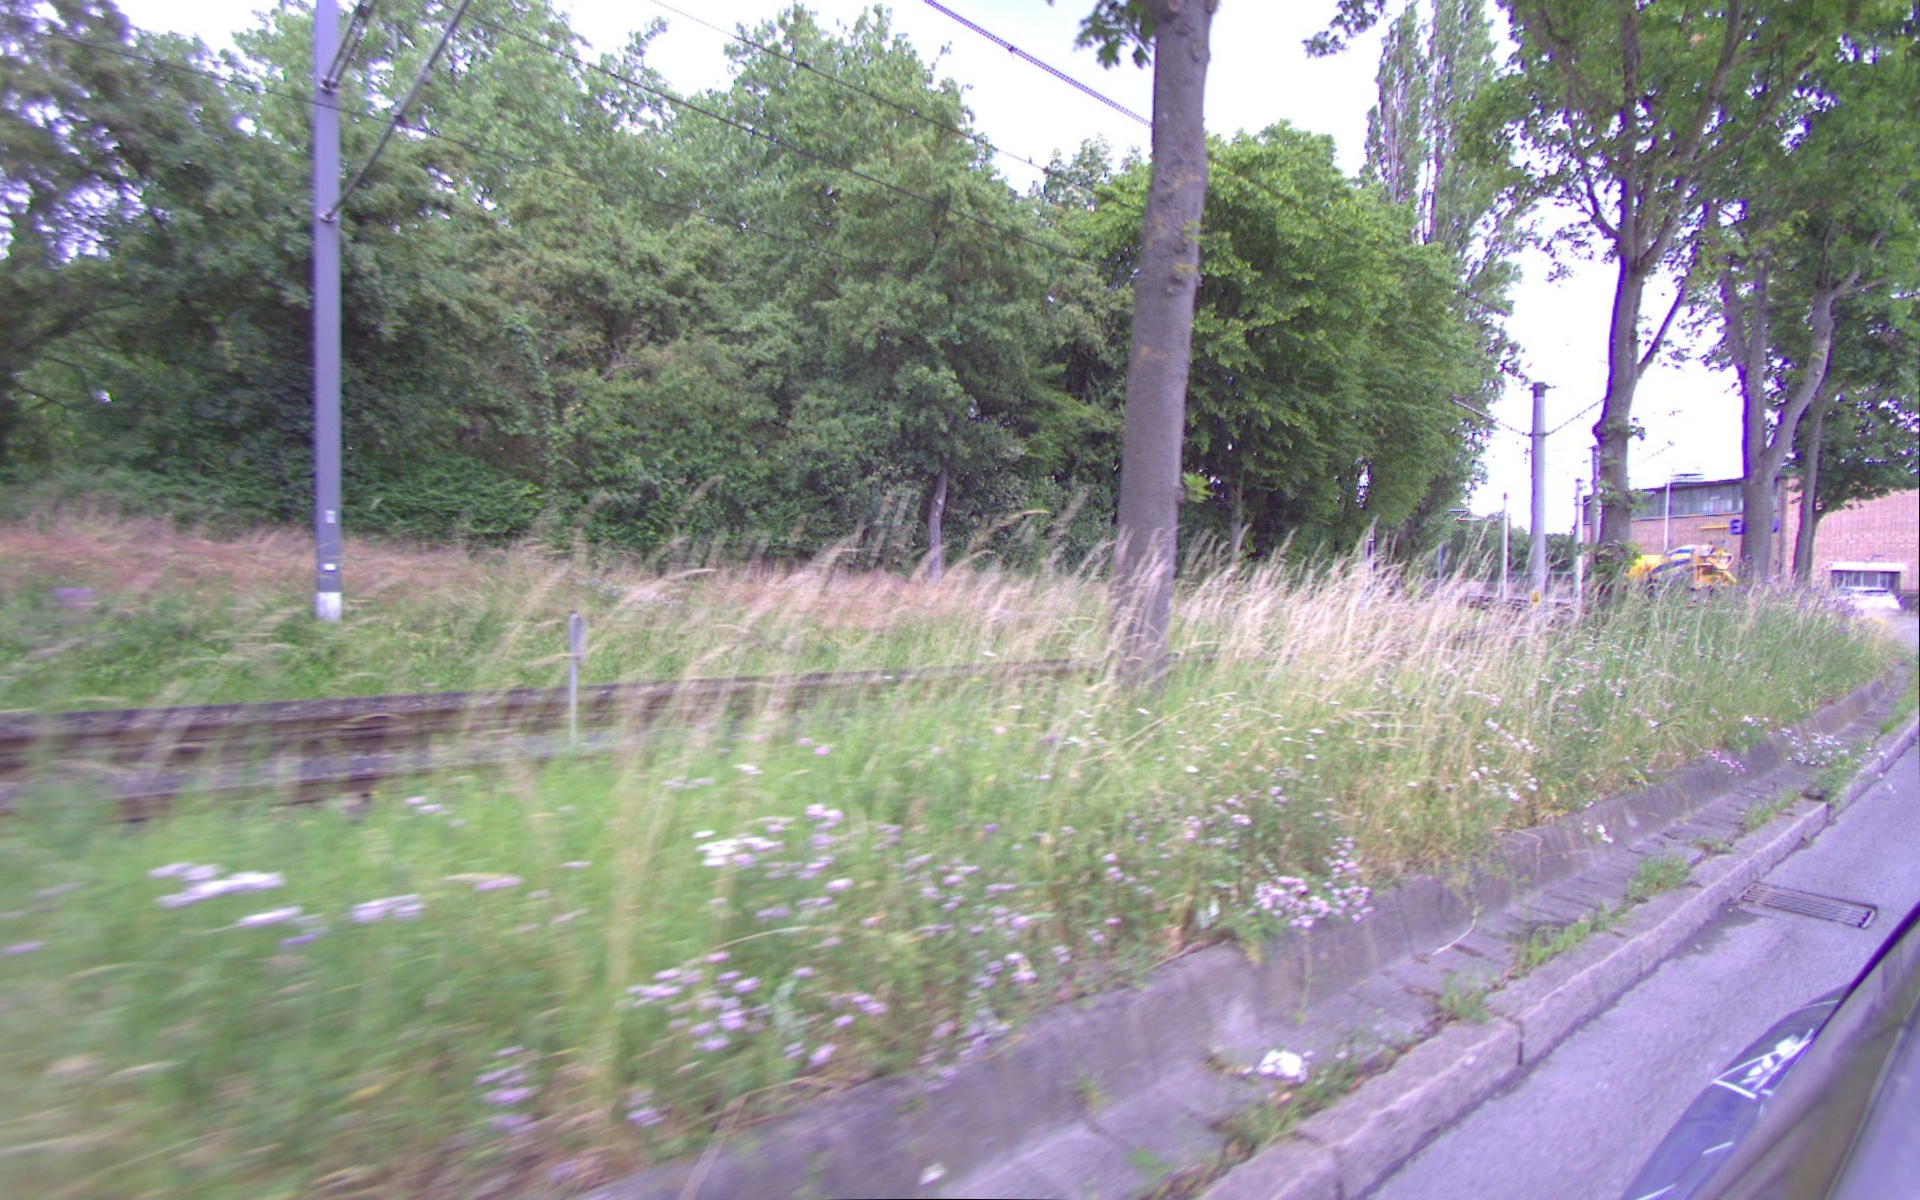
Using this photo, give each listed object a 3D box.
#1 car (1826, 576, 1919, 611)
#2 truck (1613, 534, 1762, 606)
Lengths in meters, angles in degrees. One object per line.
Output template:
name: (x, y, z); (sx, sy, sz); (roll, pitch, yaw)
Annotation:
car: (41.133, -0.294, 45.704); (1.729, 1.506, 3.634); (-1, 0, 17)
truck: (44.238, -1.712, 62.051); (2.631, 3.988, 10.121); (-2, 0, 6)
